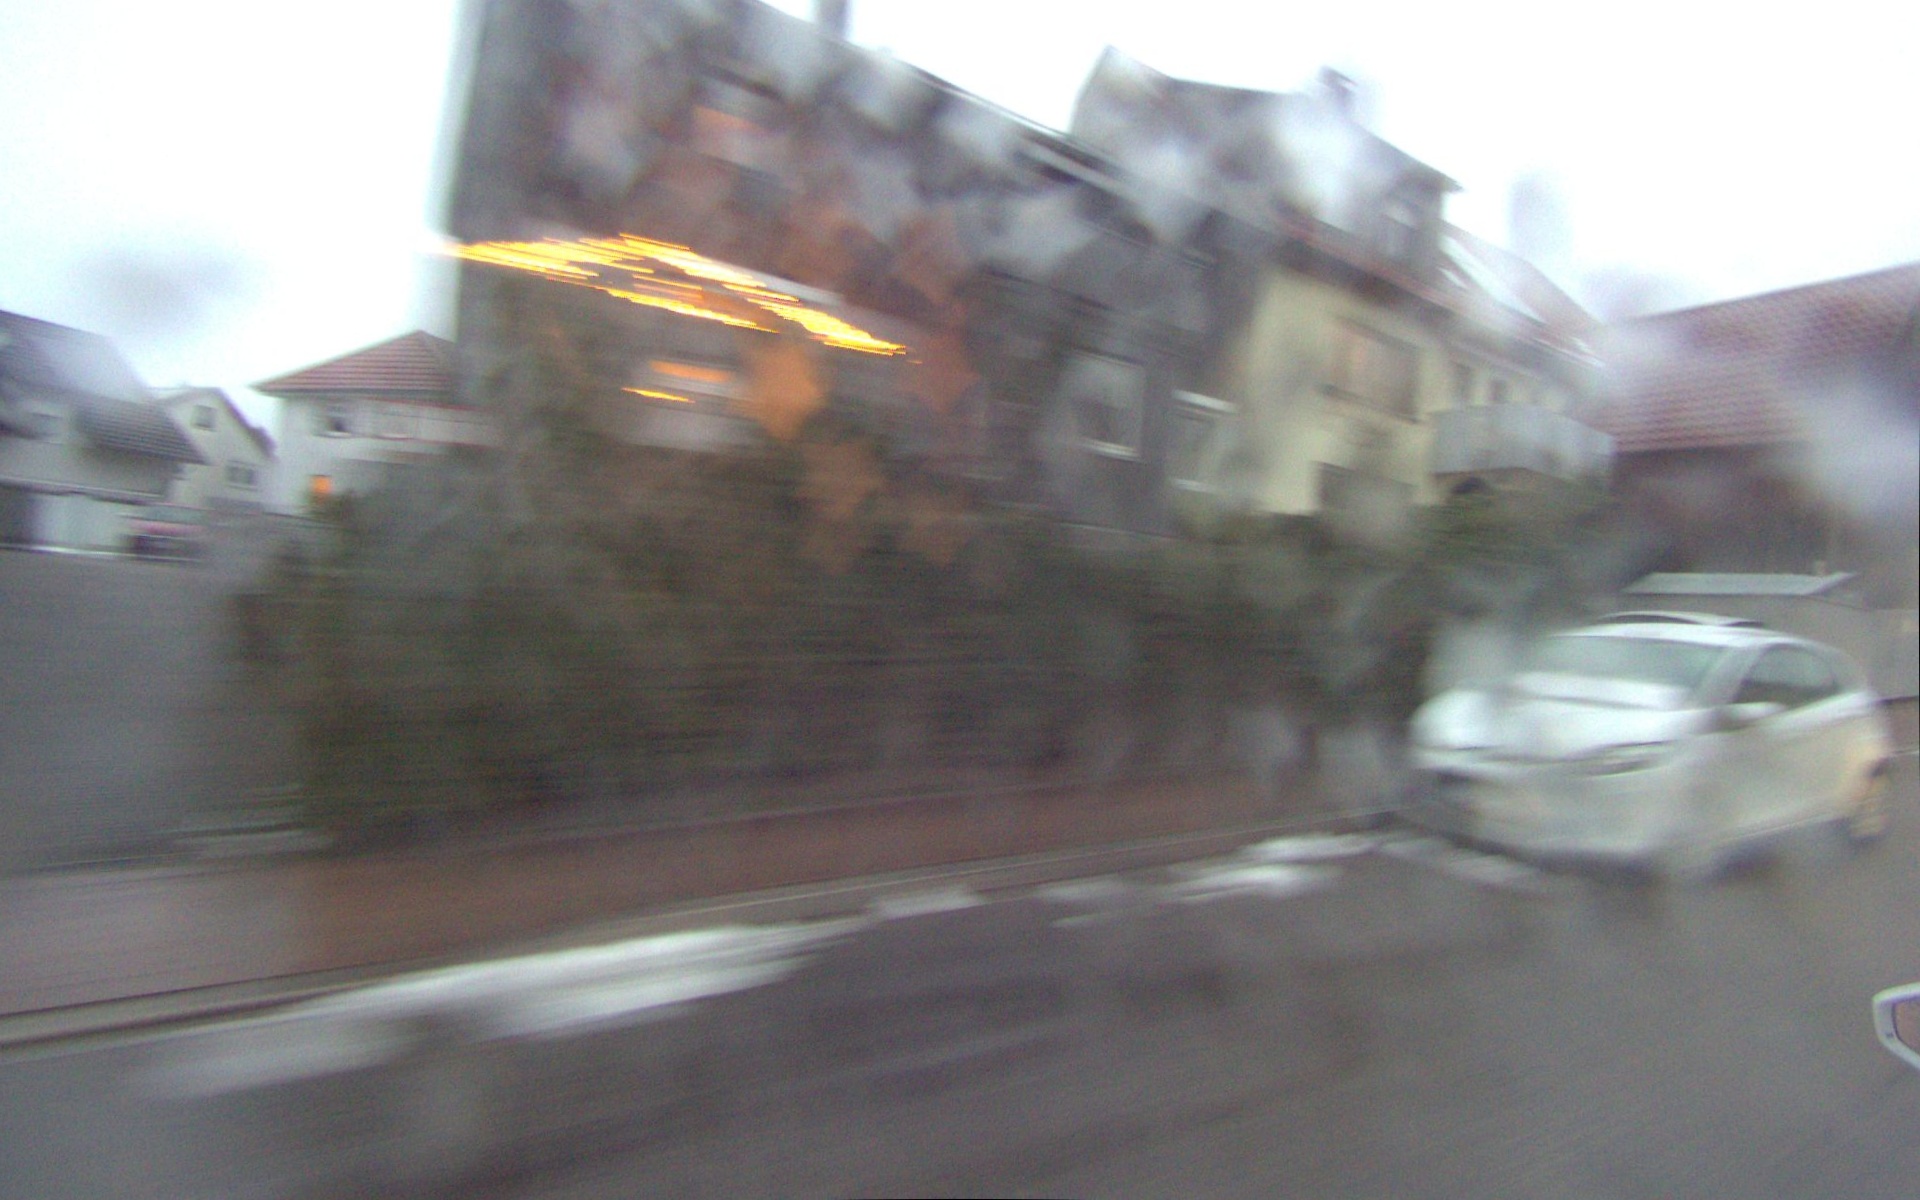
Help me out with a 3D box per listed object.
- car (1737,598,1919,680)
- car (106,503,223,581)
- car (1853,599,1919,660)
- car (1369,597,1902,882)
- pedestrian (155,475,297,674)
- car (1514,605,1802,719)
[{"bbox_3d":[21.878,0.916,24.624,1.974,1.770,3.972,2,1,-26],"label":"car"},{"bbox_3d":[-18.124,-1.341,23.048,1.686,1.515,3.962,3,2,-33],"label":"car"},{"bbox_3d":[27.464,0.867,27.579,1.864,1.639,3.972,2,1,-26],"label":"car"},{"bbox_3d":[4.621,0.779,6.774,3.615,1.457,1.610,2,-1,-31],"label":"car"},{"bbox_3d":[-6.861,-0.235,9.444,0.978,1.755,0.811,3,4,-35],"label":"pedestrian"},{"bbox_3d":[11.302,0.933,16.504,1.750,1.548,3.451,2,1,-26],"label":"car"}]
